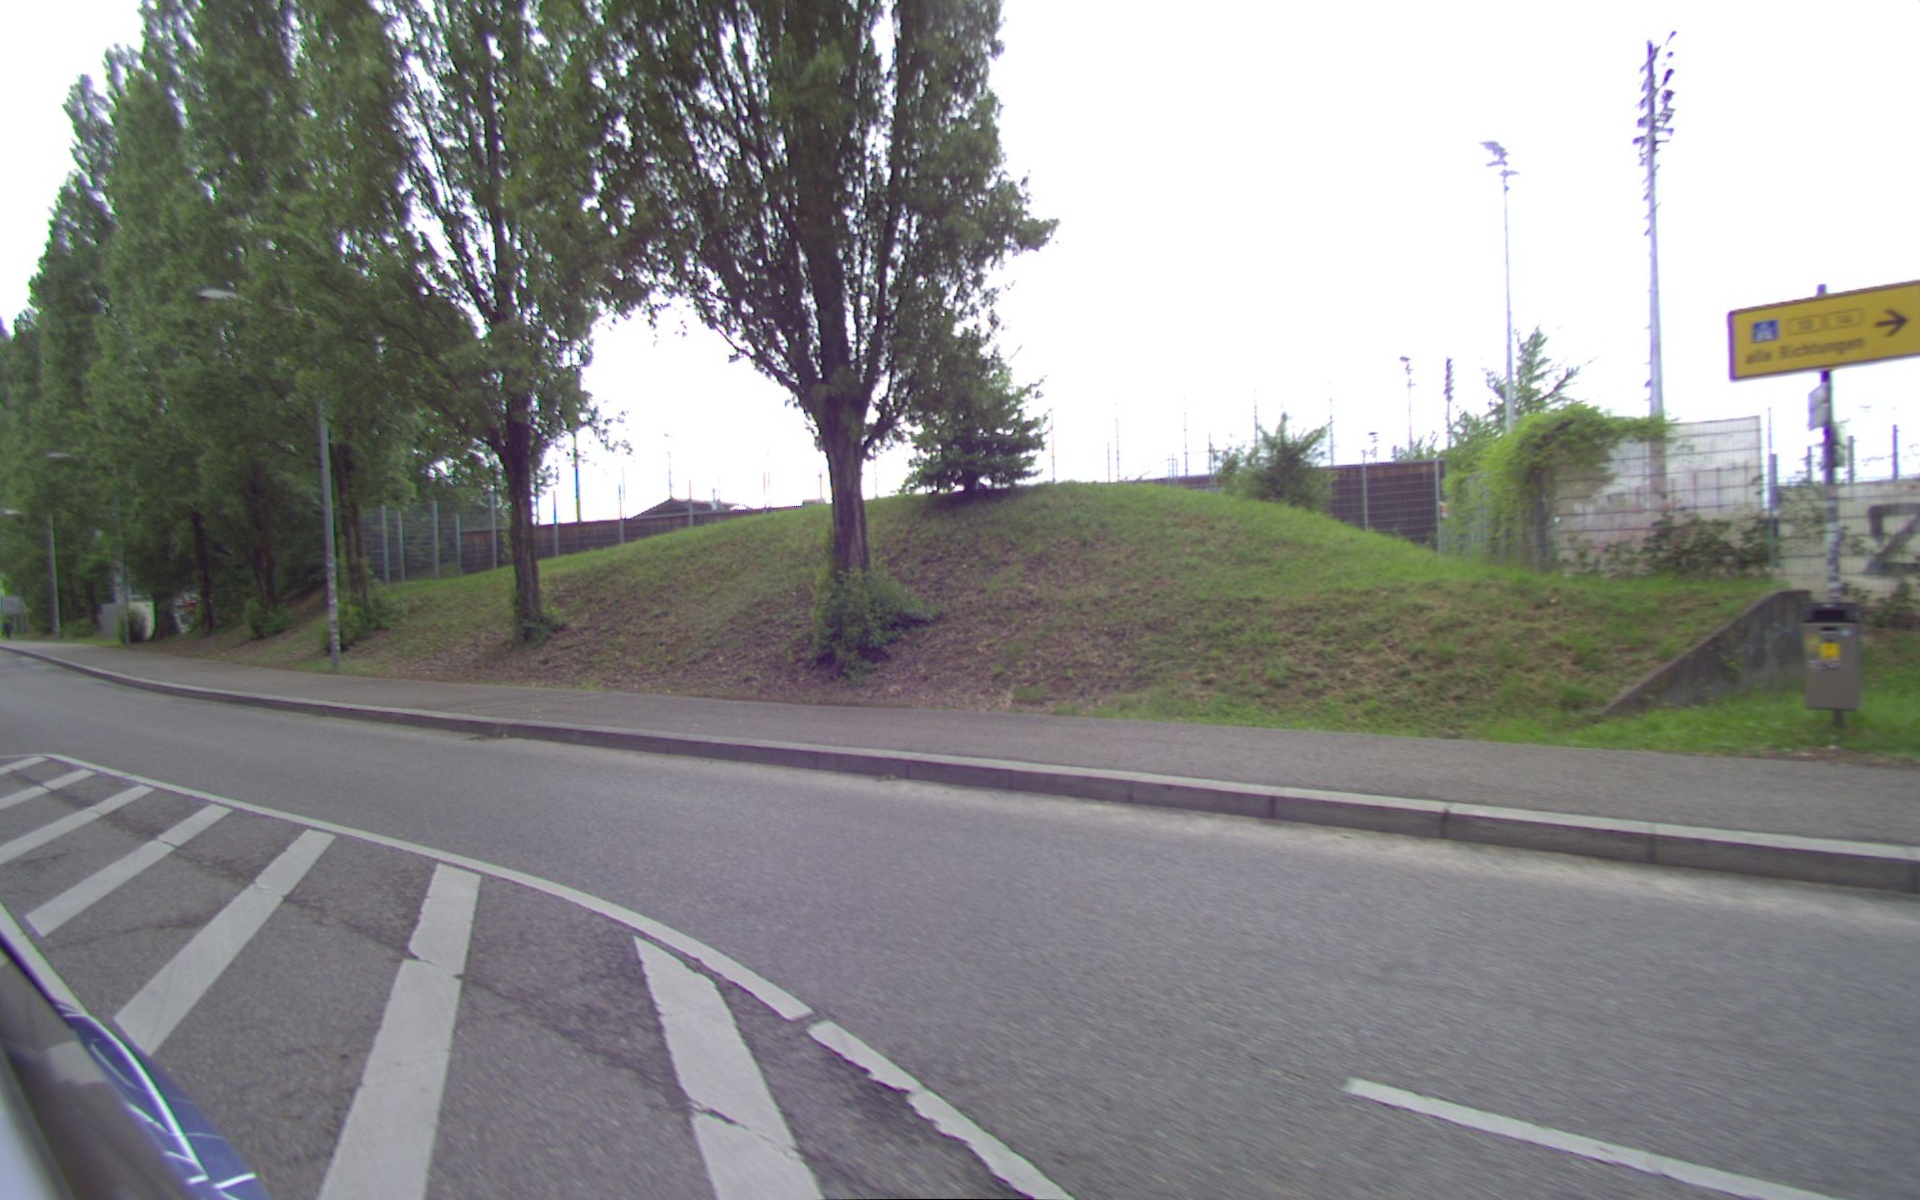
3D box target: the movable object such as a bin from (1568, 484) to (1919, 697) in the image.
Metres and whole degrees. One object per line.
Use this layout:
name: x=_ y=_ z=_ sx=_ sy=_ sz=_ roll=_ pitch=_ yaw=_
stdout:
movable object such as a bin: x=11.387 y=-0.119 z=14.357 sx=4.178 sy=2.743 sz=2.024 roll=-1 pitch=0 yaw=5

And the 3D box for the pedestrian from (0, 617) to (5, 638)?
pedestrian: x=-86.022 y=2.491 z=90.616 sx=0.737 sy=1.908 sz=0.653 roll=-2 pitch=-1 yaw=44
